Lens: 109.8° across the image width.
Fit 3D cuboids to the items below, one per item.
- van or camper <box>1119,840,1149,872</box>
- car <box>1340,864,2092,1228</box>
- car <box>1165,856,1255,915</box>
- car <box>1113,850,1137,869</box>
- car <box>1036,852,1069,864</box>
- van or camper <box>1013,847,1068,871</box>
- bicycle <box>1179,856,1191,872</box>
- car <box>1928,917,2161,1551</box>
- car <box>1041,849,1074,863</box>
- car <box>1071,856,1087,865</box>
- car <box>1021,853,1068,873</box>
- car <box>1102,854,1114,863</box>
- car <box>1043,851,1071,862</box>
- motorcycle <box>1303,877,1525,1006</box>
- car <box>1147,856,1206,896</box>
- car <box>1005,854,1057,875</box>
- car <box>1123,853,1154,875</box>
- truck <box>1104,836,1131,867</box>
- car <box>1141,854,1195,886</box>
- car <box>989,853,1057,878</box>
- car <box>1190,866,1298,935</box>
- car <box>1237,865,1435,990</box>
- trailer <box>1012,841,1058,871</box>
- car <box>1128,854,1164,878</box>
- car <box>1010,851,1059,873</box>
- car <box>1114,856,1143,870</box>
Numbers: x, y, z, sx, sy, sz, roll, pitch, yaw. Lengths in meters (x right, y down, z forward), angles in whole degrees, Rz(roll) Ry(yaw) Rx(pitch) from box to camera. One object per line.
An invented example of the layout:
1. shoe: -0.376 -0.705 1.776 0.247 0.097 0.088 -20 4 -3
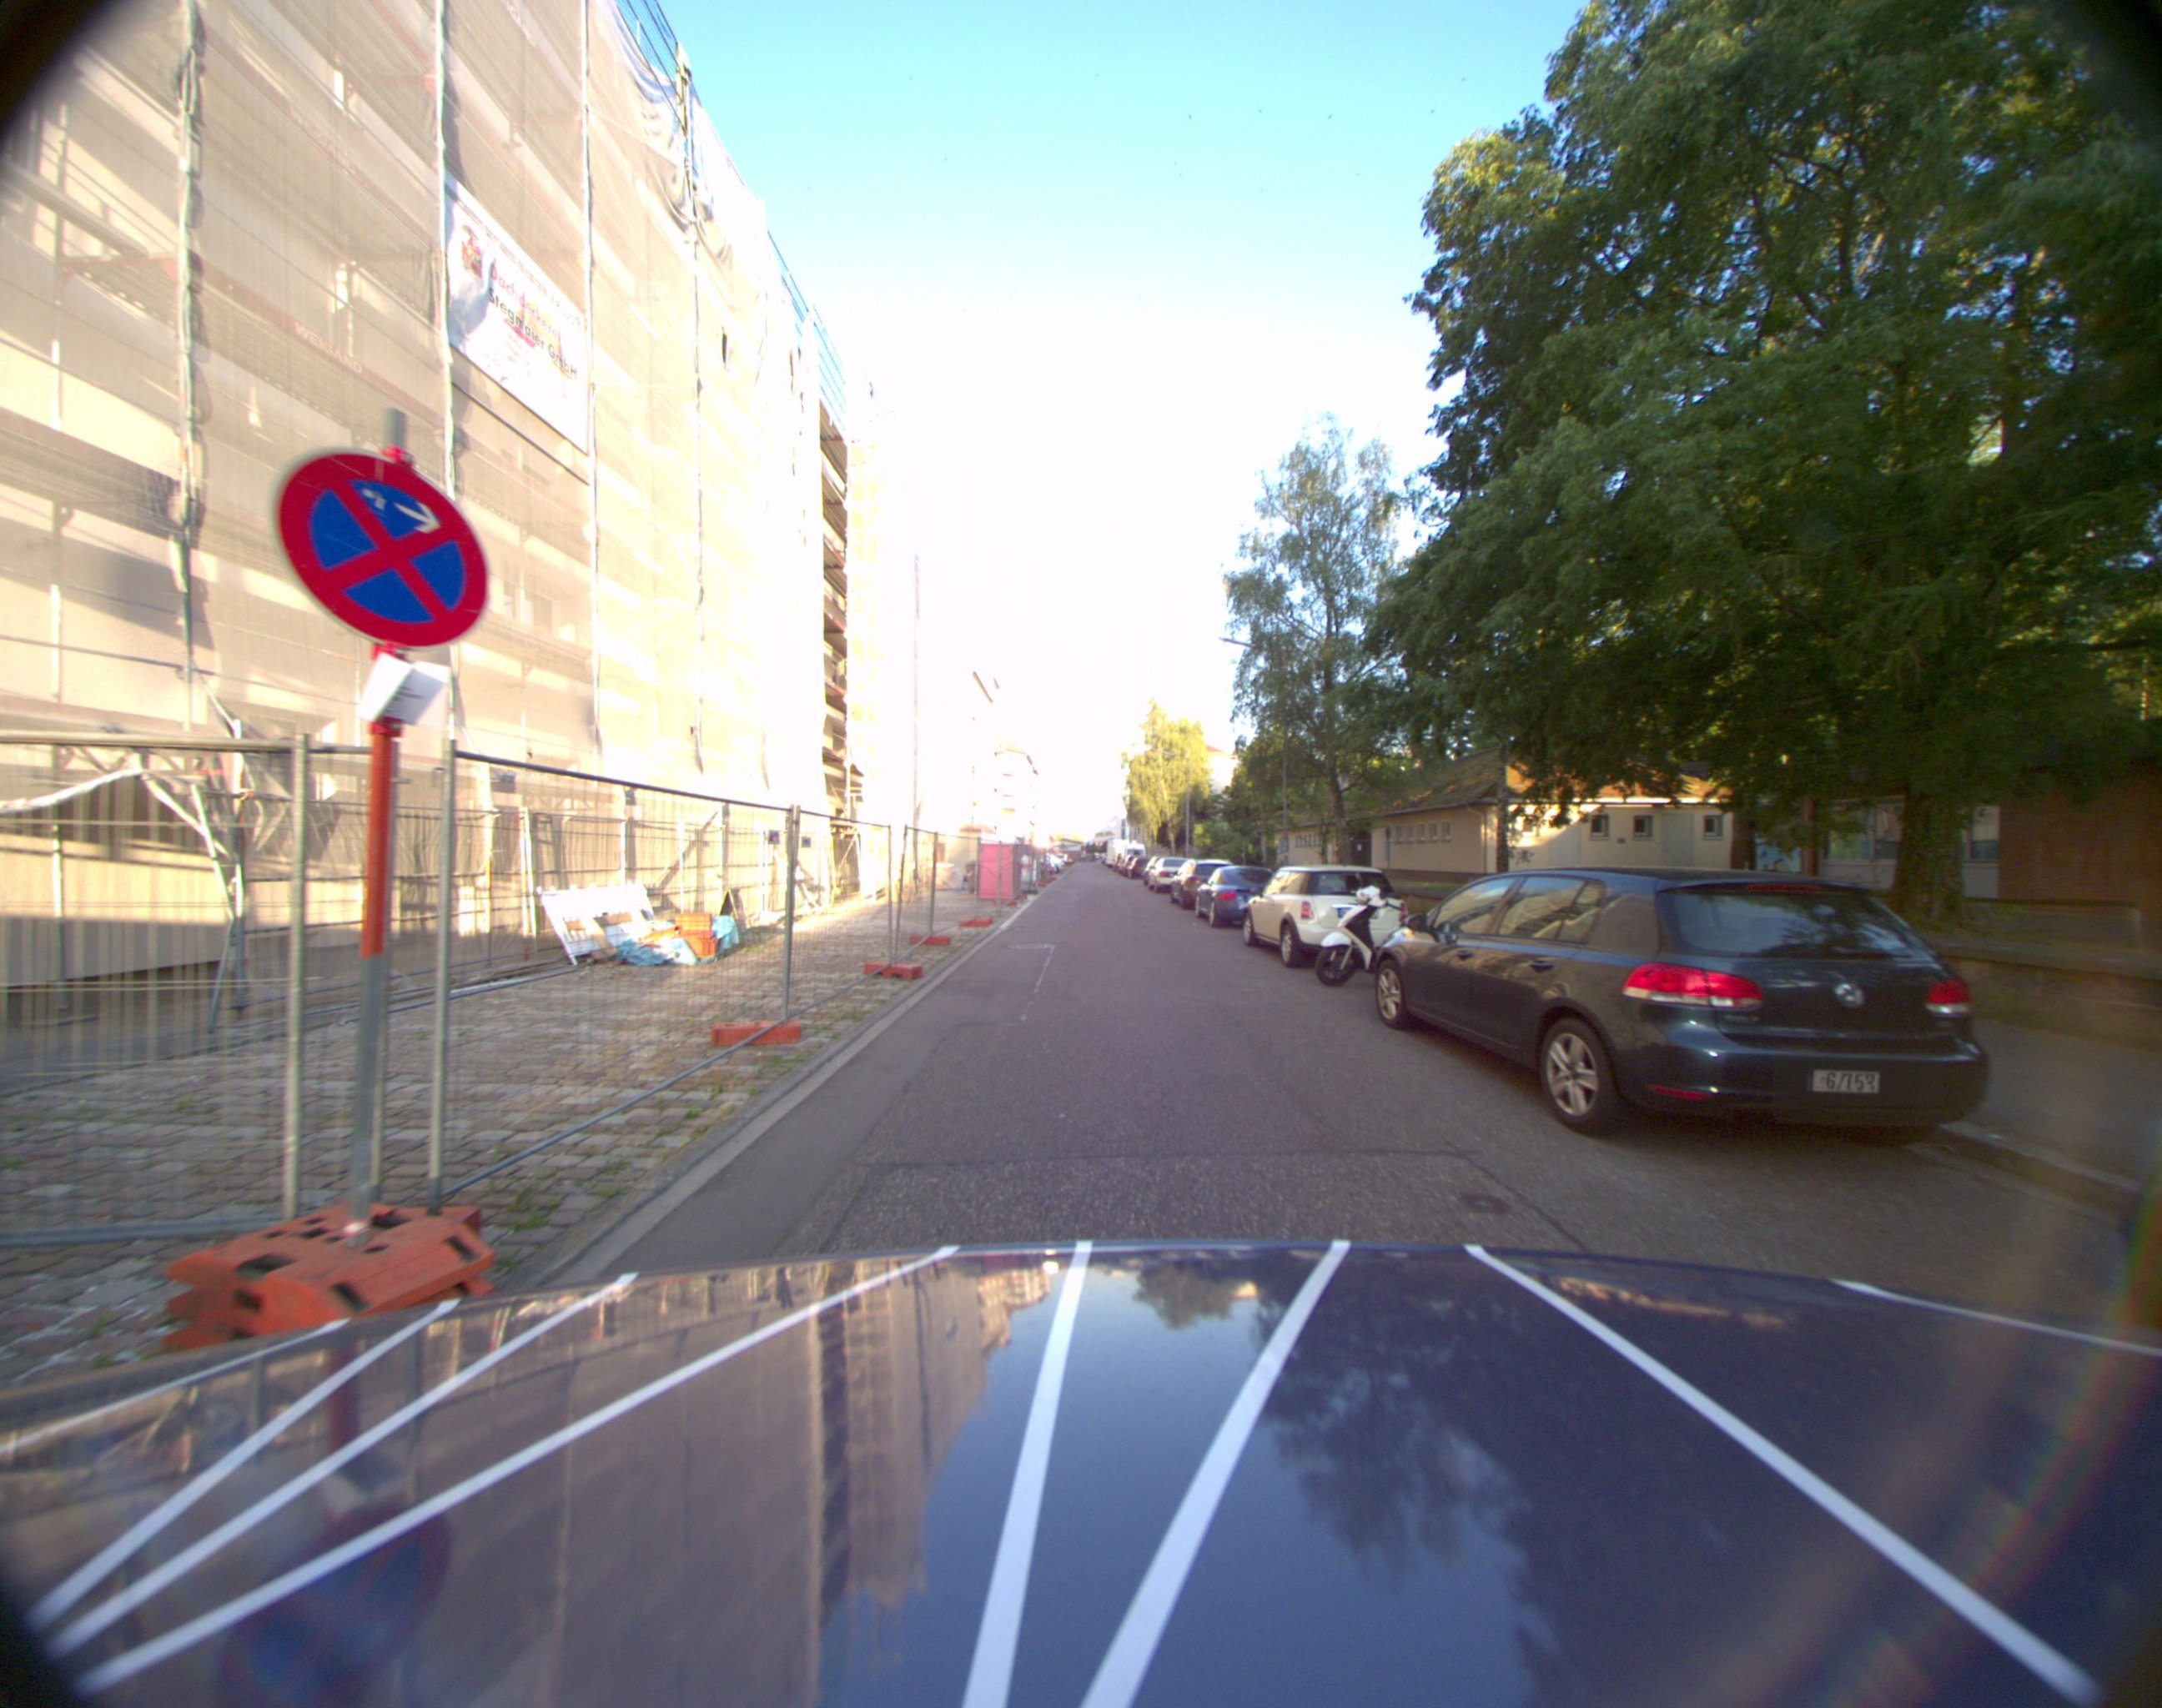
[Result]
1. van or camper: 4.187 0.162 60.993 1.998 2.442 6.083 0 0 0
2. car: 3.506 0.870 5.485 1.720 1.487 4.360 1 0 -1
3. car: 3.753 0.851 22.939 1.864 1.529 4.758 1 0 0
4. car: 4.147 0.503 71.773 1.915 1.777 4.949 1 0 -1
5. car: -3.891 0.563 104.656 4.311 1.532 1.923 0 0 2
6. van or camper: -3.665 0.462 69.073 4.846 2.084 2.040 0 0 0
7. bicycle: 7.378 0.686 54.007 0.544 1.111 1.955 -1 0 -1
8. car: 3.369 0.953 0.297 1.641 1.469 3.992 1 0 2
9. car: -3.463 0.323 112.528 4.685 1.988 2.000 0 0 1
10. car: -0.394 1.133 131.235 2.000 1.481 4.427 -1 0 -11
11. car: -3.165 0.771 66.340 3.997 1.630 1.999 0 1 -1
12. car: 4.709 0.832 132.773 1.999 1.481 4.431 -1 0 -1
13. car: -3.464 0.385 109.666 3.998 1.619 1.784 0 0 -2
14. motorcycle: 3.646 0.940 8.554 2.167 1.296 0.881 -1 1 15
15. car: 3.813 0.832 31.188 1.787 1.437 4.748 2 0 0
16. car: -3.862 0.796 59.082 3.998 1.628 1.903 0 0 -2
17. car: 4.115 0.675 55.240 1.998 1.510 4.789 -1 0 1
18. truck: 4.200 -0.305 89.086 2.532 3.334 8.016 2 0 0
19. car: 4.160 0.716 36.949 1.999 1.444 3.999 -1 0 -2
20. car: -3.724 0.725 49.085 4.163 1.606 1.872 0 0 2
21. car: 3.626 0.987 17.576 1.663 1.306 4.154 1 0 1
22. car: 3.582 0.954 11.405 1.605 1.423 3.803 2 0 -1
23. trailer: -3.704 0.155 61.603 3.577 2.323 1.940 2 0 -3
24. car: 4.115 0.730 48.830 1.998 1.444 4.288 -1 0 1
25. car: -3.850 0.670 63.706 3.997 1.718 1.999 0 1 -1
26. car: 4.097 0.747 66.177 1.999 1.182 4.034 -1 0 -5
